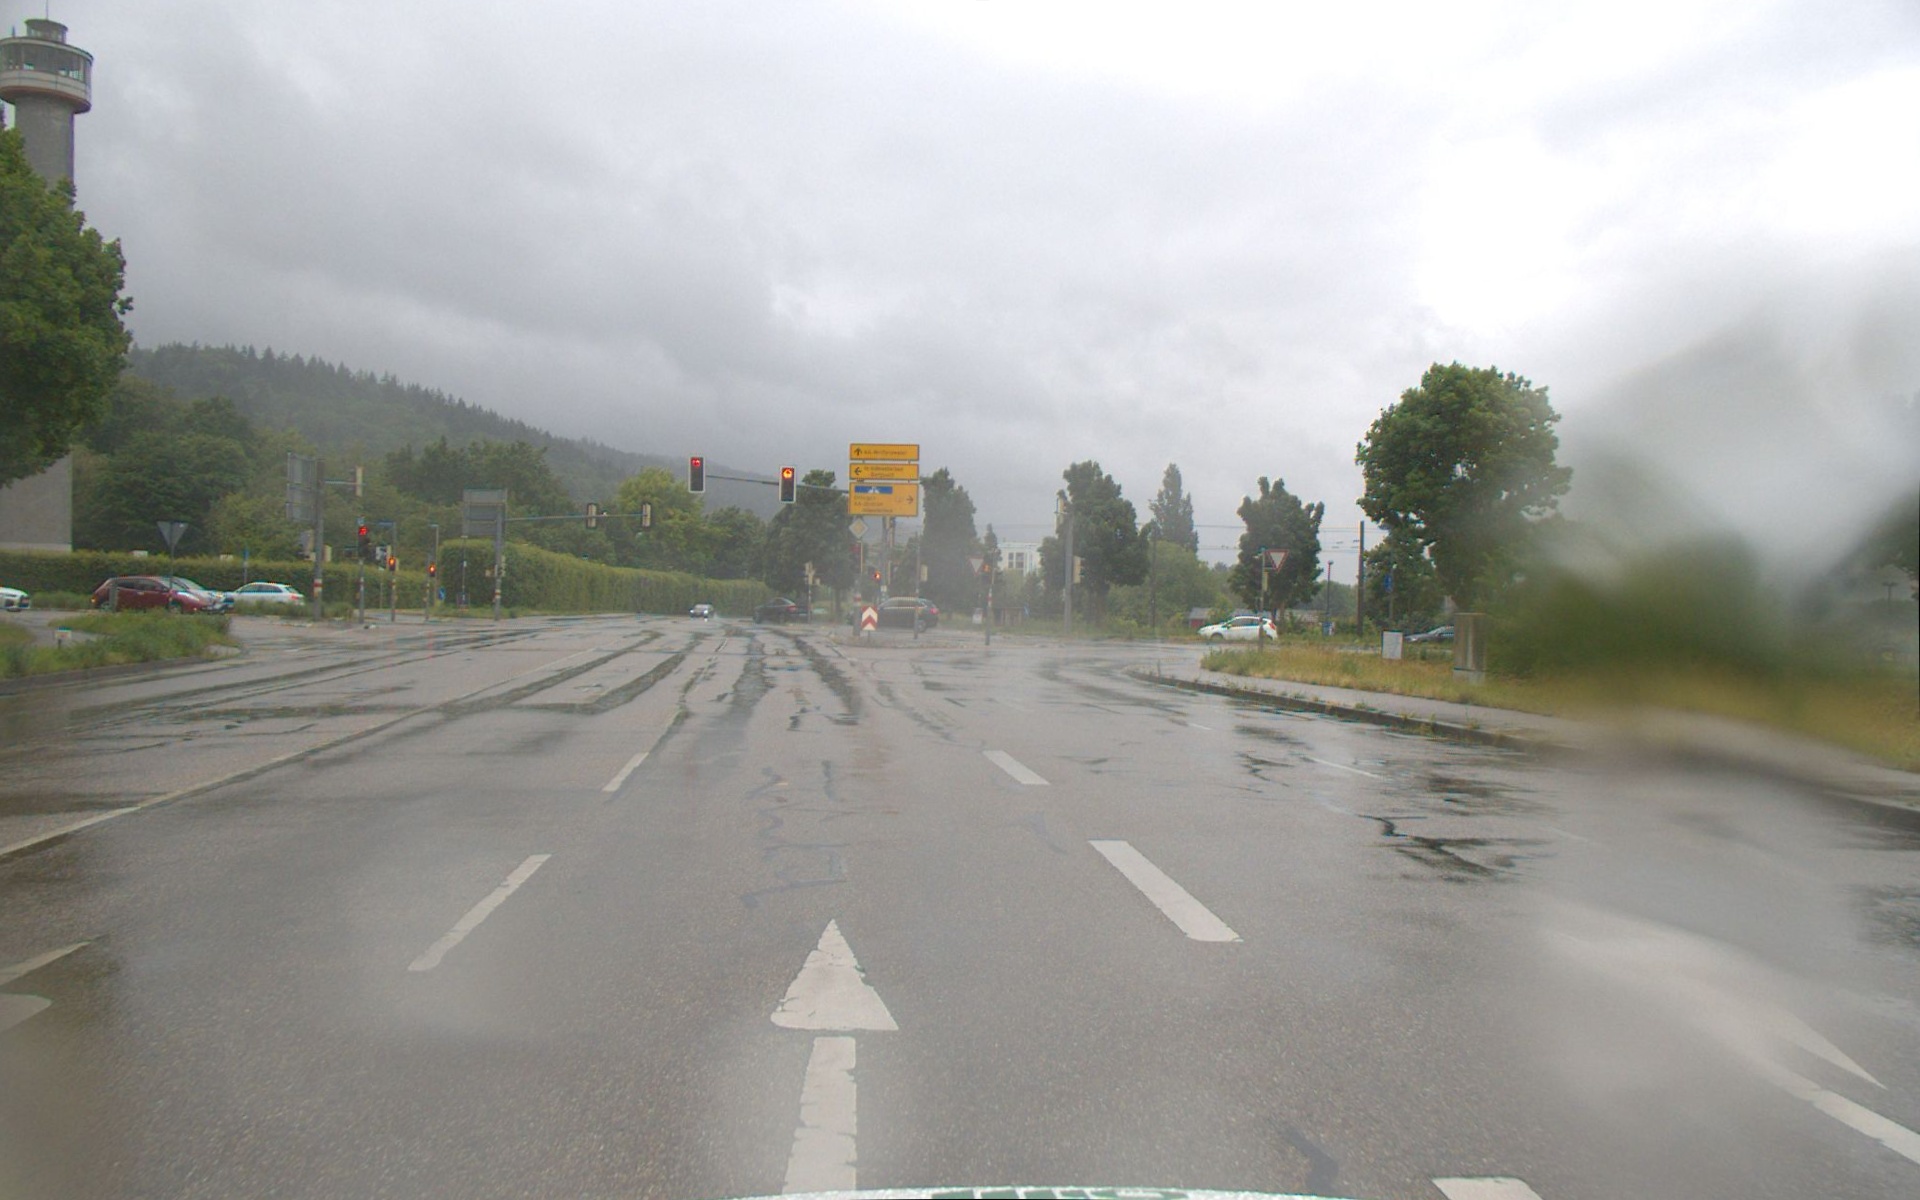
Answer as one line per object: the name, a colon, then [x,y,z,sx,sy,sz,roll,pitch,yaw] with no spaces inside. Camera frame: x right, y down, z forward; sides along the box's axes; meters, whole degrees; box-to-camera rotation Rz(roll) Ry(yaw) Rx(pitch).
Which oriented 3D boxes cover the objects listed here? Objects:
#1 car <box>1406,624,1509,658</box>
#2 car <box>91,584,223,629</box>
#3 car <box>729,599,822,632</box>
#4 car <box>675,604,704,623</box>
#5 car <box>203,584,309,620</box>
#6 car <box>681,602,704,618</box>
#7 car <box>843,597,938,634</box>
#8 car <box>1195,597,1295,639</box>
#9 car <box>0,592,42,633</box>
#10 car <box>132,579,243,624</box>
car: [24.704,2.027,82.215,4.576,1.580,1.822,1,0,-3]
car: [-31.536,0.245,65.054,4.286,1.607,1.732,2,0,0]
car: [-9.329,0.757,83.734,4.577,1.580,1.821,-1,0,-4]
car: [-22.411,1.104,137.177,1.841,1.601,4.641,0,0,-3]
car: [-33.594,0.092,79.008,4.297,1.607,1.728,2,0,-11]
car: [-27.902,1.046,172.798,1.841,1.601,4.641,0,0,-3]
car: [-3.406,0.749,81.073,4.577,1.667,1.821,1,0,-4]
car: [14.046,0.890,81.653,4.575,1.949,1.915,1,0,-2]
car: [-38.758,0.447,64.576,4.782,1.580,1.799,1,0,0]
car: [-32.059,0.056,68.689,3.723,1.741,1.746,1,0,0]
